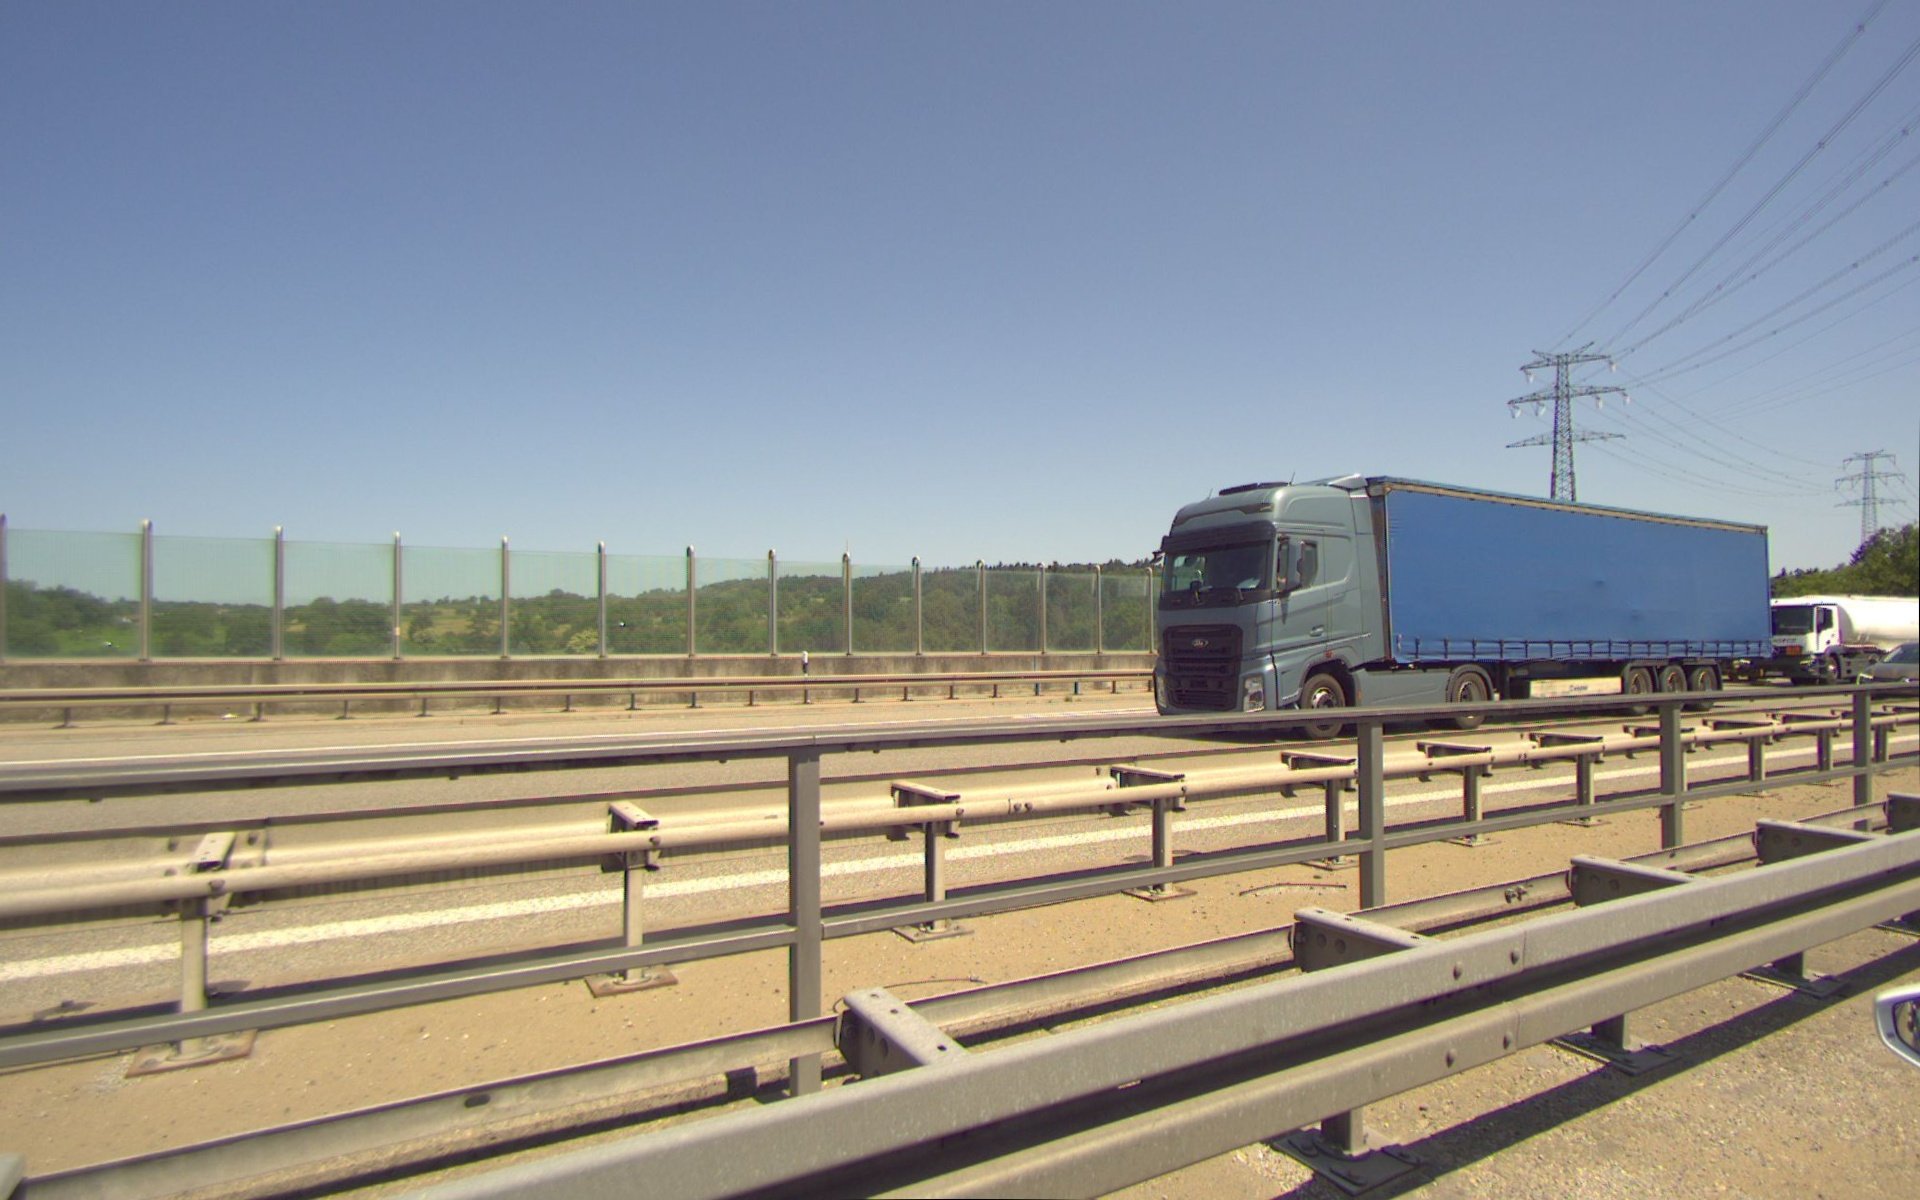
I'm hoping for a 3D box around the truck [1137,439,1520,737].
[{"bbox_3d":[6.259,-0.050,16.821,6.192,4.170,2.740,2,-2,-31],"label":"truck"}]

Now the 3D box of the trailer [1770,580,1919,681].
[{"bbox_3d":[35.907,1.305,39.570,10.774,3.586,2.487,2,-3,-30],"label":"trailer"}]

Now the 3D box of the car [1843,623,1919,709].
[{"bbox_3d":[19.634,1.317,20.057,4.143,1.572,1.872,2,0,-32],"label":"car"}]

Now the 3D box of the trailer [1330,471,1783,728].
[{"bbox_3d":[12.695,0.215,20.671,11.911,4.220,2.691,2,-3,-31],"label":"trailer"}]

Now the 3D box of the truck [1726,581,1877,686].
[{"bbox_3d":[30.551,1.260,36.451,5.266,3.581,2.510,2,-3,-30],"label":"truck"}]
